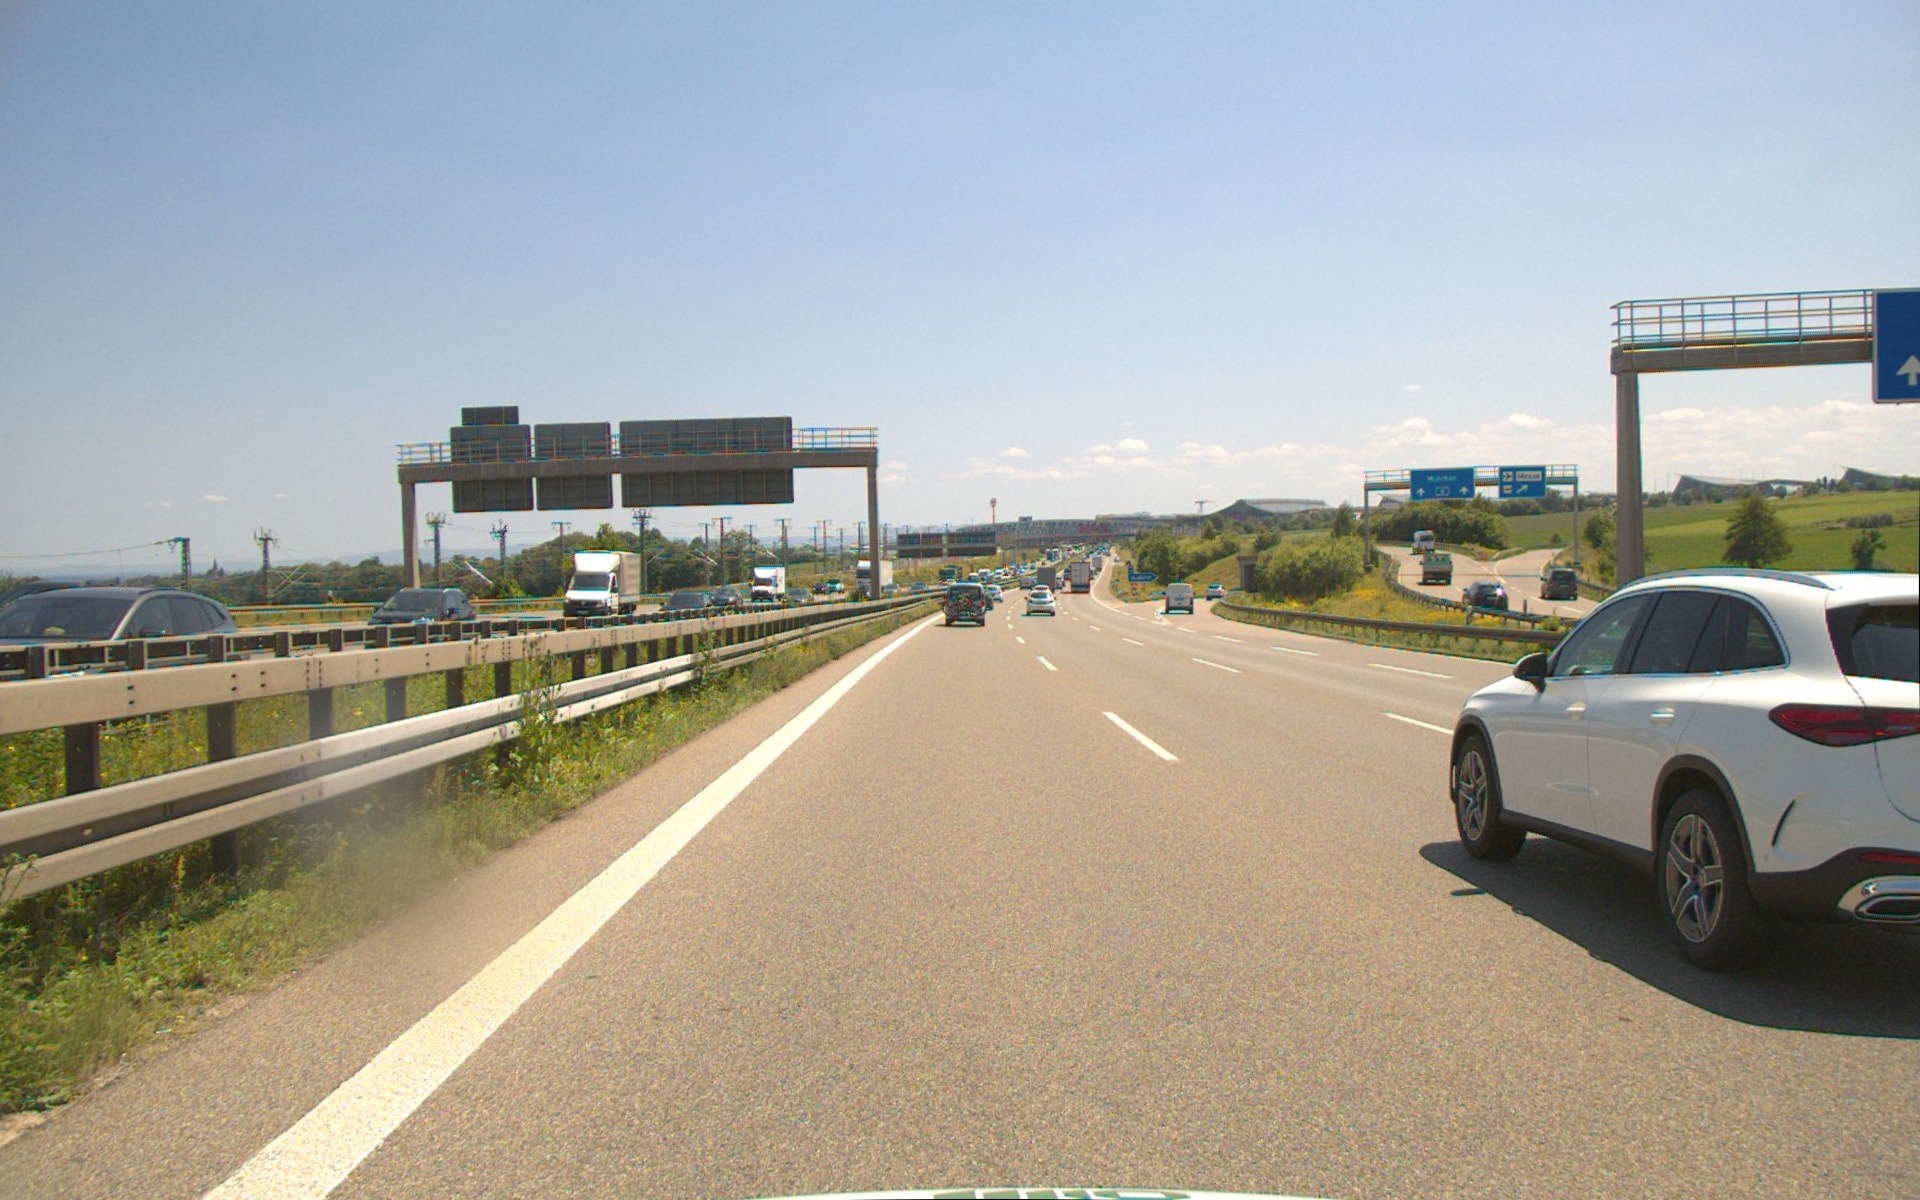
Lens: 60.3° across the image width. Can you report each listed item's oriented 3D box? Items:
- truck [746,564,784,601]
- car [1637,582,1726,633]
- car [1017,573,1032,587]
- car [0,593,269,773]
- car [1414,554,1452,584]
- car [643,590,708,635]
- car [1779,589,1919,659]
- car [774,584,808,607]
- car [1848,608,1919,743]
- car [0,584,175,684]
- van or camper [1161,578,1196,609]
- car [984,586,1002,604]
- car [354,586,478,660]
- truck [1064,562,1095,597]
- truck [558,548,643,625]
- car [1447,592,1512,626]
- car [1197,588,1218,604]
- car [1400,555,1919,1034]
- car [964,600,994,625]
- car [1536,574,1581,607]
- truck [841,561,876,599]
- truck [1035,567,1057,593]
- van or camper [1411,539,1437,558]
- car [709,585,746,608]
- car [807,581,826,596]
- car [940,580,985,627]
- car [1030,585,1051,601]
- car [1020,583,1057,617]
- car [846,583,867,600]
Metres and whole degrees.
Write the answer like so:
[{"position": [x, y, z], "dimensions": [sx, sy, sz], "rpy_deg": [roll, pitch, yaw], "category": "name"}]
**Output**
[{"position": [-17.618, -1.607, 149.484], "dimensions": [2.272, 3.222, 8.114], "rpy_deg": [0, 1, 1], "category": "truck"}, {"position": [28.189, 0.292, 64.764], "dimensions": [1.898, 1.957, 4.181], "rpy_deg": [0, 0, 4], "category": "car"}, {"position": [9.464, -2.897, 243.186], "dimensions": [2.141, 2.038, 4.001], "rpy_deg": [0, 1, 2], "category": "car"}, {"position": [-8.972, 0.761, 17.306], "dimensions": [1.641, 1.643, 4.362], "rpy_deg": [0, 0, 0], "category": "car"}, {"position": [33.743, -2.225, 118.084], "dimensions": [1.951, 2.049, 4.003], "rpy_deg": [0, 0, 7], "category": "car"}, {"position": [-10.799, 0.476, 62.994], "dimensions": [1.712, 1.653, 4.830], "rpy_deg": [0, 0, -1], "category": "car"}, {"position": [21.528, 0.565, 40.093], "dimensions": [1.663, 1.602, 4.131], "rpy_deg": [0, 0, 6], "category": "car"}, {"position": [-11.577, -0.314, 113.567], "dimensions": [1.753, 1.490, 4.860], "rpy_deg": [0, 1, 1], "category": "car"}, {"position": [11.340, 0.825, 16.988], "dimensions": [1.750, 1.462, 4.845], "rpy_deg": [0, 0, -1], "category": "car"}, {"position": [-16.614, 0.568, 30.622], "dimensions": [1.809, 1.684, 4.910], "rpy_deg": [0, 0, 0], "category": "car"}, {"position": [14.519, -0.401, 110.234], "dimensions": [2.110, 2.049, 4.306], "rpy_deg": [0, 0, 5], "category": "van or camper"}, {"position": [3.013, -0.412, 149.047], "dimensions": [1.543, 1.579, 3.965], "rpy_deg": [0, 0, 2], "category": "car"}, {"position": [-12.842, 0.528, 39.279], "dimensions": [1.641, 1.653, 4.084], "rpy_deg": [0, 0, -1], "category": "car"}, {"position": [15.677, -2.769, 217.997], "dimensions": [3.954, 4.336, 11.765], "rpy_deg": [0, 2, 3], "category": "truck"}, {"position": [-16.380, -0.589, 75.757], "dimensions": [2.327, 3.334, 7.659], "rpy_deg": [0, 0, -1], "category": "truck"}, {"position": [25.852, 0.453, 82.446], "dimensions": [1.953, 1.624, 3.999], "rpy_deg": [0, 0, -1], "category": "car"}, {"position": [27.072, -0.428, 181.195], "dimensions": [1.952, 1.723, 4.002], "rpy_deg": [0, 0, 4], "category": "car"}, {"position": [3.884, 0.691, 8.332], "dimensions": [1.860, 1.676, 4.996], "rpy_deg": [0, 0, -2], "category": "car"}, {"position": [1.333, 0.848, 114.289], "dimensions": [1.886, 1.655, 4.519], "rpy_deg": [0, 0, 3], "category": "car"}, {"position": [35.501, -0.548, 98.226], "dimensions": [1.897, 1.957, 4.183], "rpy_deg": [0, 0, 11], "category": "car"}, {"position": [-11.877, -2.362, 194.652], "dimensions": [3.180, 4.283, 7.697], "rpy_deg": [0, 1, 4], "category": "truck"}, {"position": [11.034, -2.554, 211.480], "dimensions": [2.646, 3.163, 10.663], "rpy_deg": [0, 0, 4], "category": "truck"}, {"position": [54.646, -6.037, 194.937], "dimensions": [2.475, 2.049, 4.464], "rpy_deg": [0, 0, 8], "category": "van or camper"}, {"position": [-15.485, -0.244, 110.201], "dimensions": [1.866, 1.445, 4.001], "rpy_deg": [0, 1, 1], "category": "car"}, {"position": [-17.482, -1.362, 201.508], "dimensions": [1.767, 1.779, 4.001], "rpy_deg": [0, 0, 3], "category": "car"}, {"position": [0.094, 0.152, 72.179], "dimensions": [1.887, 1.952, 4.947], "rpy_deg": [0, 0, -1], "category": "car"}, {"position": [7.698, -0.670, 158.606], "dimensions": [1.940, 1.499, 4.002], "rpy_deg": [0, 0, 3], "category": "car"}, {"position": [4.628, 0.028, 98.041], "dimensions": [1.887, 1.952, 4.517], "rpy_deg": [0, 0, -1], "category": "car"}, {"position": [-10.046, -0.812, 161.127], "dimensions": [1.706, 1.588, 4.001], "rpy_deg": [0, 1, 1], "category": "car"}]
